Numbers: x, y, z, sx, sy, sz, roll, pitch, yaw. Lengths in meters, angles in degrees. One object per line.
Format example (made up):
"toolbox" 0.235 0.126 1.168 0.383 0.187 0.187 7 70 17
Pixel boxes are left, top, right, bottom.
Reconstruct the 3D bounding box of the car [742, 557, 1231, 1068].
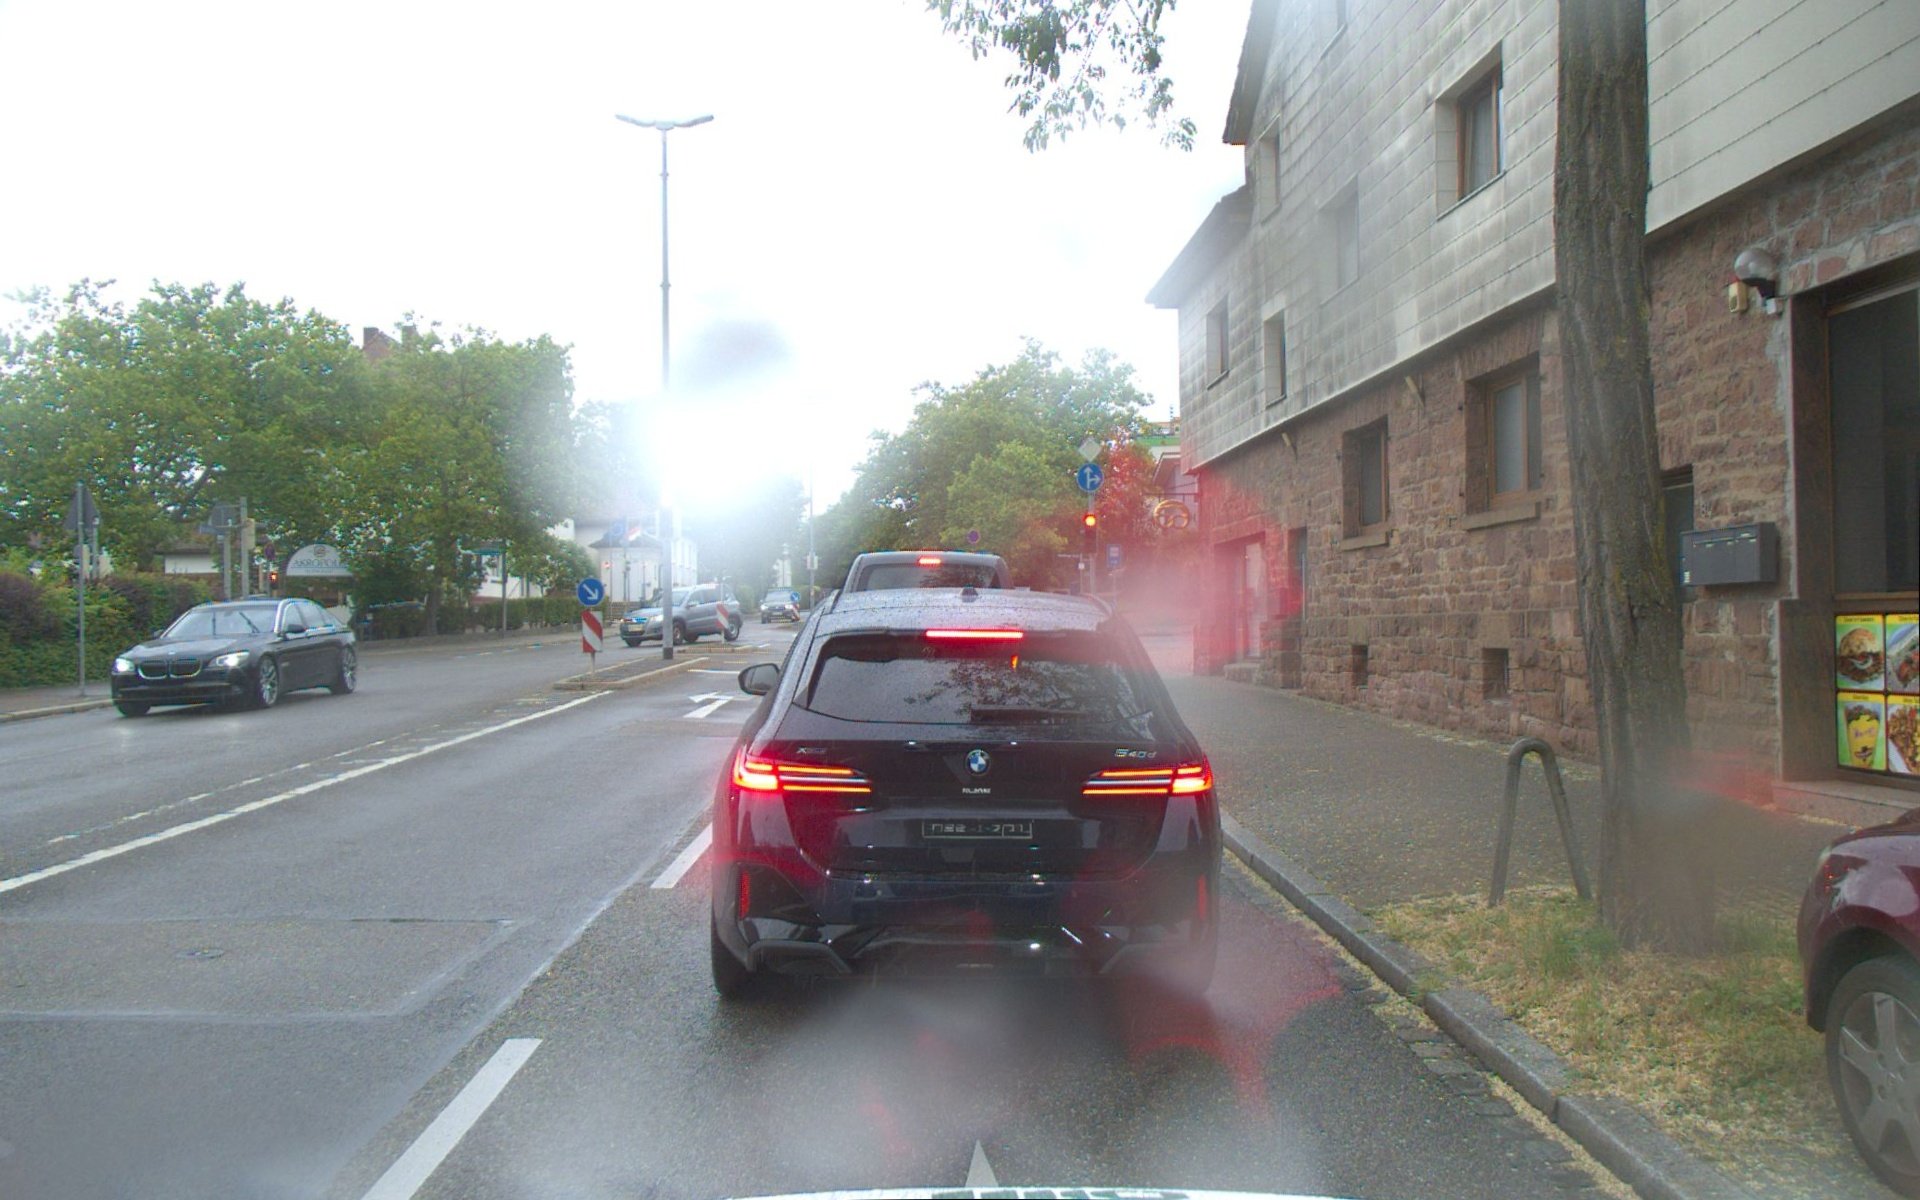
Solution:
"car" -0.021 0.667 6.872 1.494 1.561 3.529 1 0 -4

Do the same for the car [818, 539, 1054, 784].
"car" -0.296 0.483 14.479 1.776 1.840 3.753 1 0 -4

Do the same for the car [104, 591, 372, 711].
"car" -10.003 0.648 23.371 1.873 1.479 4.944 -1 0 -4

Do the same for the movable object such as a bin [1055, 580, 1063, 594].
"movable object such as a bin" 6.895 -0.909 115.373 0.440 0.921 0.463 1 -1 14

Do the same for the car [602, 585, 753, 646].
"car" -8.210 0.424 48.415 1.875 1.618 4.304 -1 0 34

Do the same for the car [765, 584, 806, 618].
"car" -8.780 0.006 83.432 1.861 1.604 4.499 -1 1 -4

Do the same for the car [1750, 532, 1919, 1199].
"car" 3.069 0.585 2.706 1.578 1.530 3.753 1 -2 -4
